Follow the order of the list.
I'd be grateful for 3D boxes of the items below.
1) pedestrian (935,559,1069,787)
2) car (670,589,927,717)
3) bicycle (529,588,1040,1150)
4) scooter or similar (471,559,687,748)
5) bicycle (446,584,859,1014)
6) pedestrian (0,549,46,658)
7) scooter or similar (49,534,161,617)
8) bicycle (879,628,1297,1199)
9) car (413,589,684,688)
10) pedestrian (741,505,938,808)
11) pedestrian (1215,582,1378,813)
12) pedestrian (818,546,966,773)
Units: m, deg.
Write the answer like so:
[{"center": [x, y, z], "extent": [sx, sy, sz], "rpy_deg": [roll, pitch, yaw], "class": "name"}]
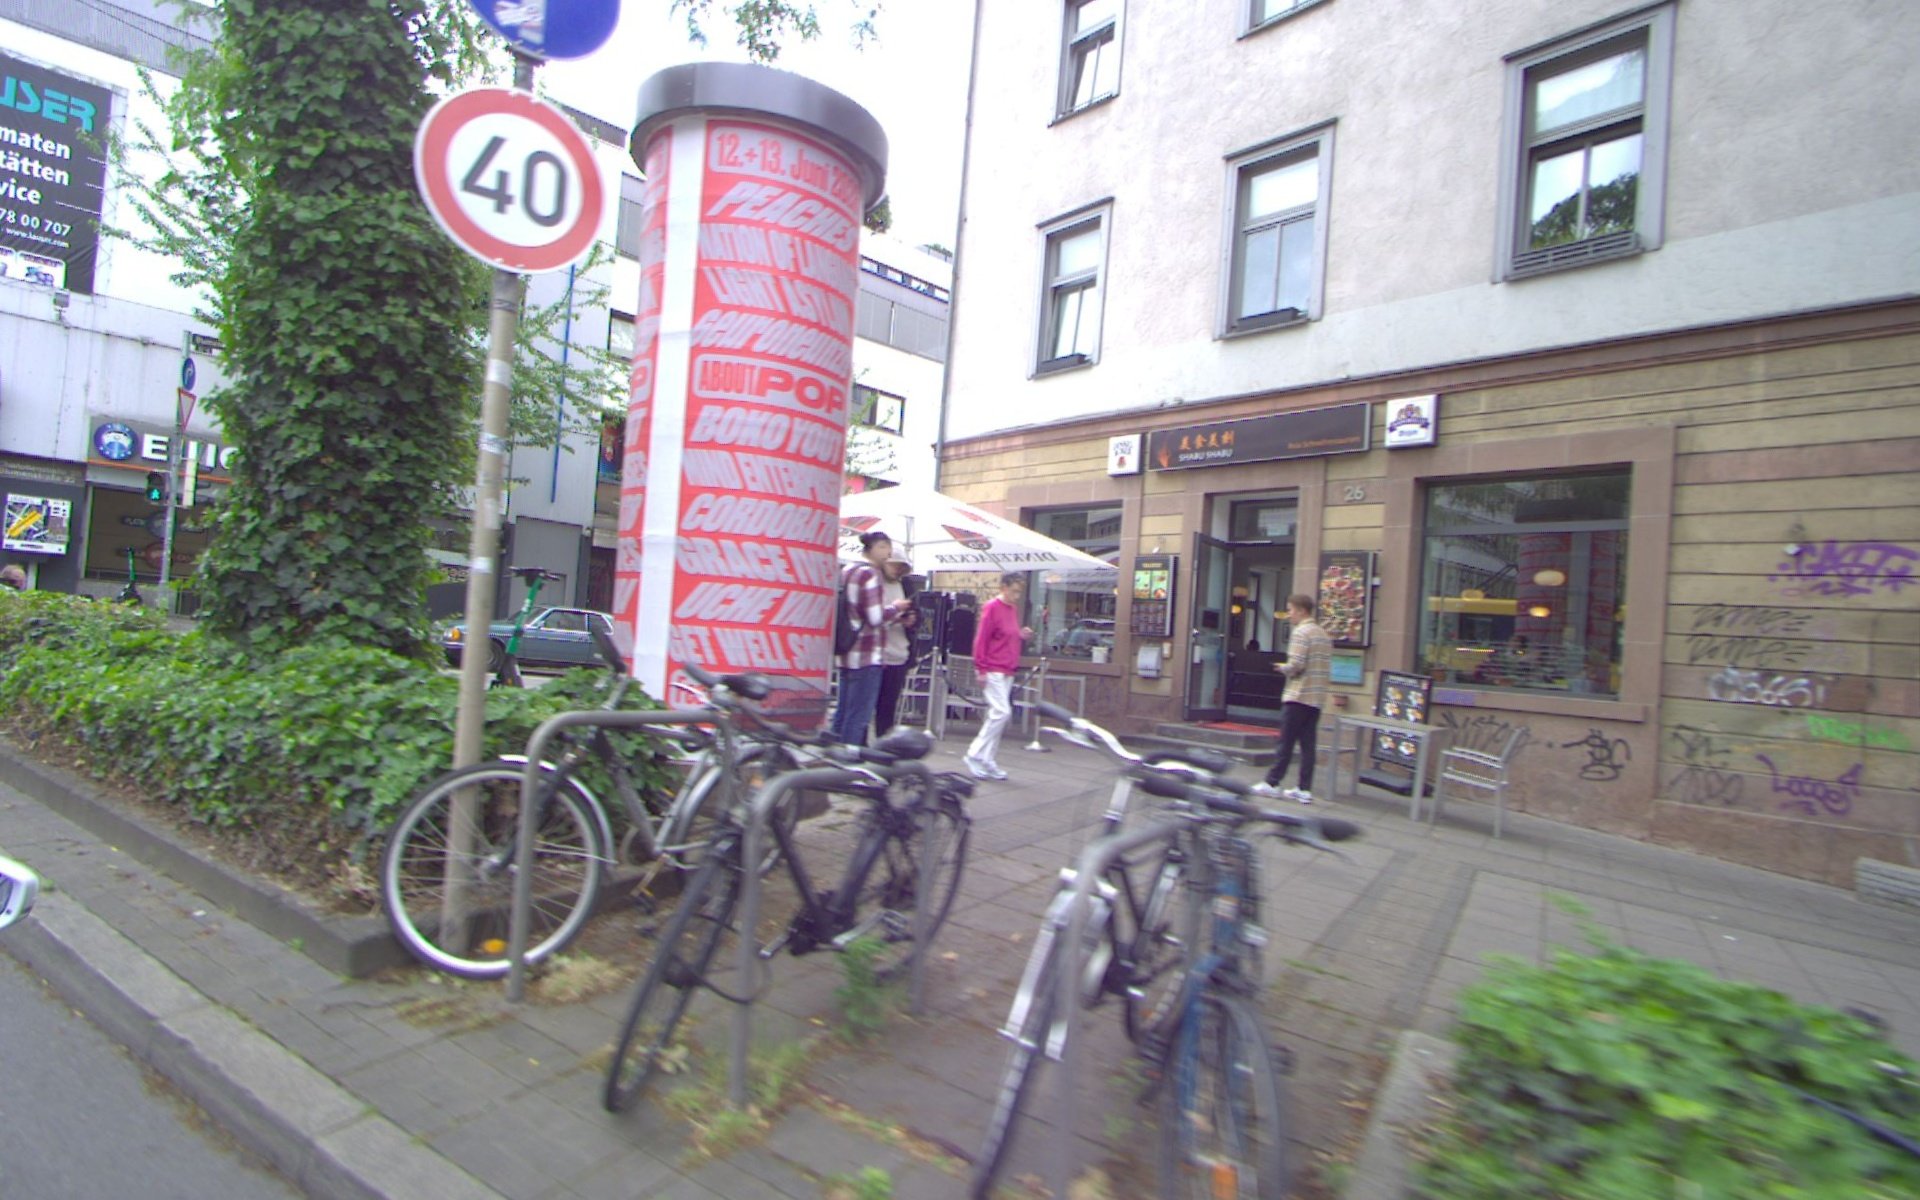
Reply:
[{"center": [0.341, 0.576, 8.066], "extent": [0.654, 1.700, 0.623], "rpy_deg": [7, 0, 37], "class": "pedestrian"}, {"center": [-3.072, 1.168, 20.376], "extent": [1.969, 1.927, 5.145], "rpy_deg": [6, -4, 35], "class": "car"}, {"center": [-0.392, 0.670, 3.183], "extent": [0.532, 1.236, 1.744], "rpy_deg": [7, 0, 27], "class": "bicycle"}, {"center": [-2.866, 0.409, 7.613], "extent": [1.372, 1.269, 0.628], "rpy_deg": [6, 0, -23], "class": "scooter or similar"}, {"center": [-1.042, 0.617, 3.737], "extent": [0.532, 1.237, 1.422], "rpy_deg": [7, 2, 27], "class": "bicycle"}, {"center": [-8.563, 0.022, 8.919], "extent": [0.574, 0.920, 0.484], "rpy_deg": [1, -5, 34], "class": "pedestrian"}, {"center": [-16.803, -0.459, 19.807], "extent": [0.586, 1.363, 1.394], "rpy_deg": [7, -5, 19], "class": "scooter or similar"}, {"center": [0.503, 0.776, 2.910], "extent": [0.532, 1.236, 1.692], "rpy_deg": [7, -1, 27], "class": "bicycle"}, {"center": [-8.045, 0.802, 19.974], "extent": [4.568, 1.371, 1.741], "rpy_deg": [11, -5, -43], "class": "car"}, {"center": [-0.825, 0.371, 6.916], "extent": [0.867, 1.911, 0.705], "rpy_deg": [7, -1, 37], "class": "pedestrian"}, {"center": [2.917, 0.836, 8.751], "extent": [0.894, 1.855, 0.730], "rpy_deg": [8, -1, -30], "class": "pedestrian"}, {"center": [-0.495, 0.435, 7.398], "extent": [0.654, 1.540, 0.623], "rpy_deg": [7, -1, 37], "class": "pedestrian"}]
